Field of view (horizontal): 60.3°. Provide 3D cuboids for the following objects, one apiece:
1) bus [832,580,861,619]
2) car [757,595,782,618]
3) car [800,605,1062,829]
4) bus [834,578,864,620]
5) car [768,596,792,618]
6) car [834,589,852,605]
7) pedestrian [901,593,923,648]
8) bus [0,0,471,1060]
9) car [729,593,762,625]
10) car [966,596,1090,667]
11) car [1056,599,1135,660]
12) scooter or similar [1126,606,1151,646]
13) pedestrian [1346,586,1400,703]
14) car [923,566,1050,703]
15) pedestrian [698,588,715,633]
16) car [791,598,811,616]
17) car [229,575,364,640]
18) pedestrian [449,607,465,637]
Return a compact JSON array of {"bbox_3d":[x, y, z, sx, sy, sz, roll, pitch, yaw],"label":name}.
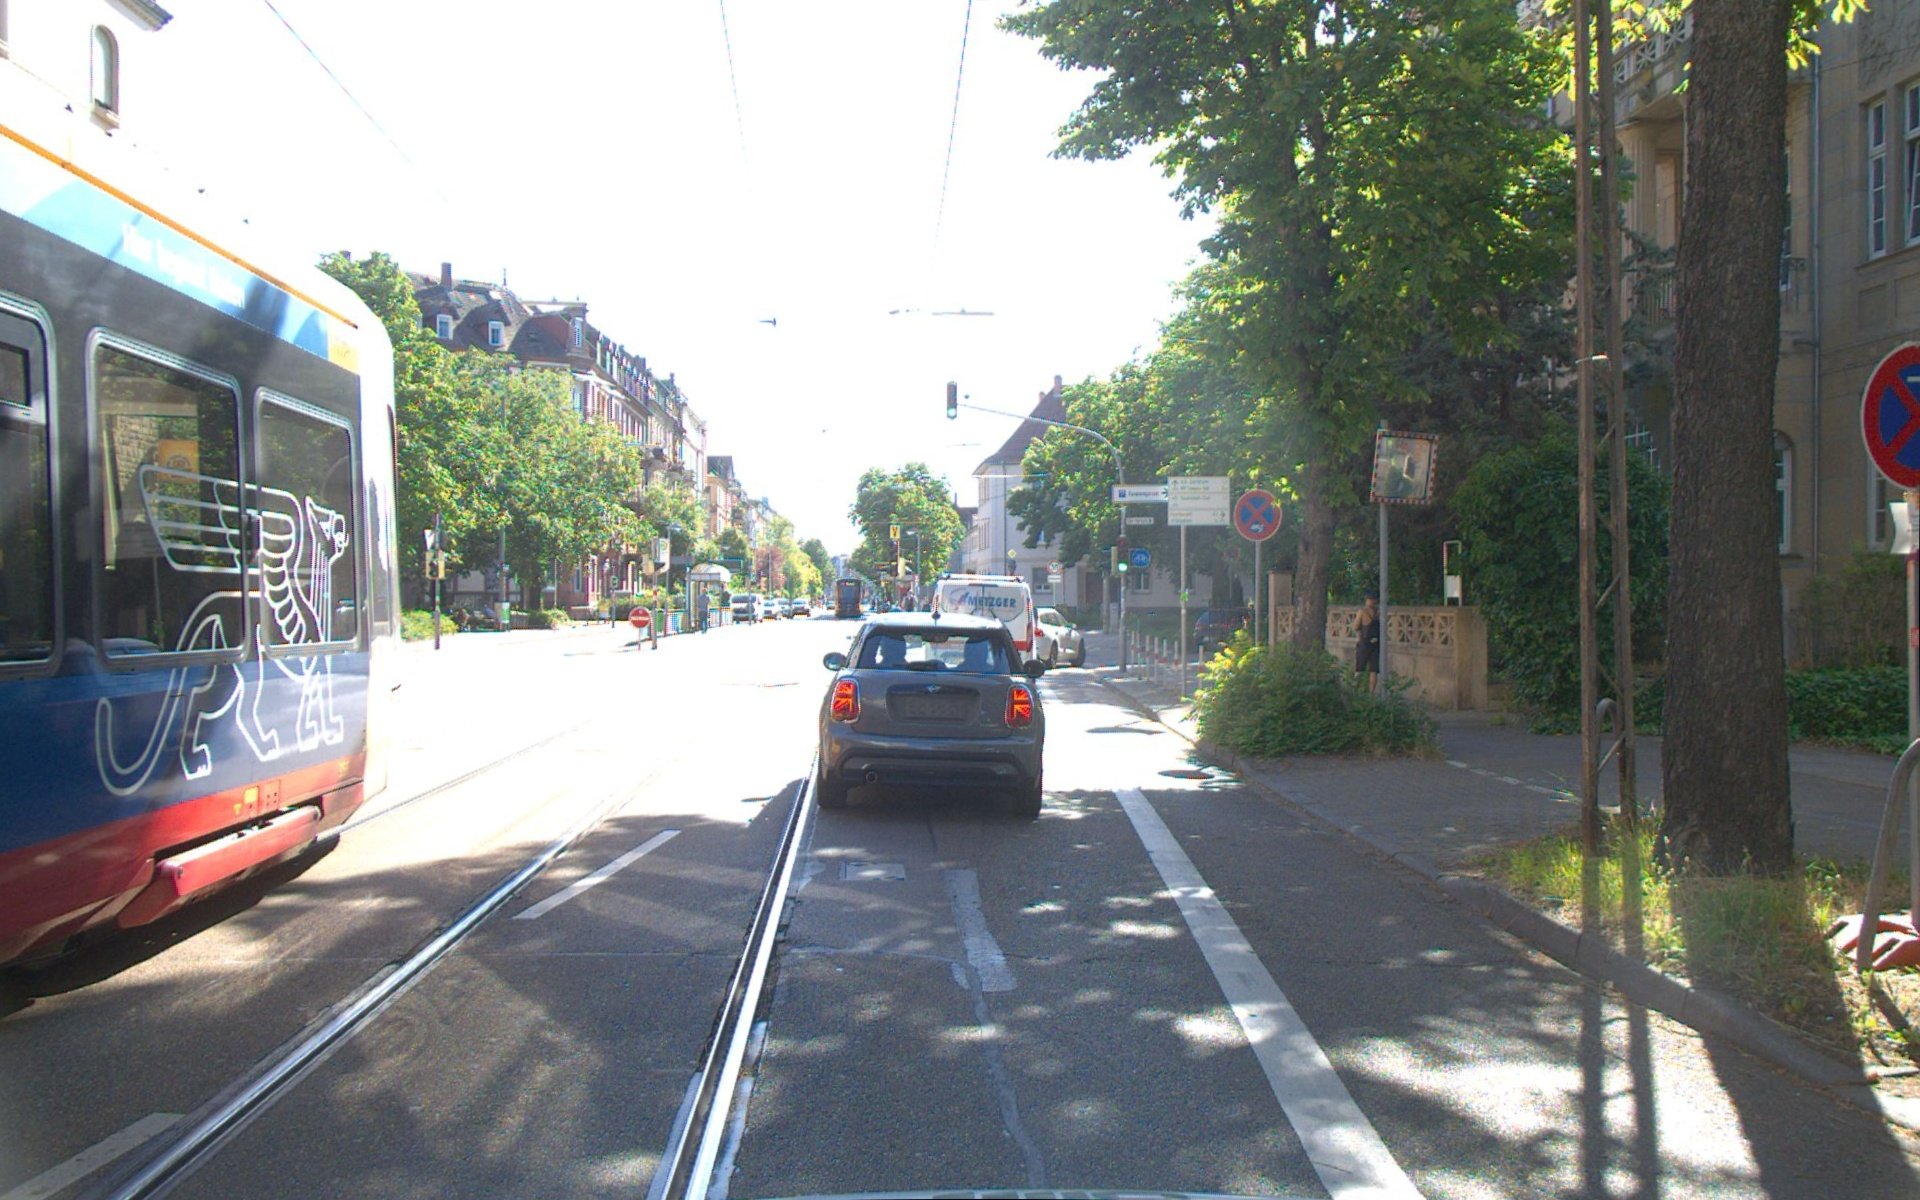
[{"bbox_3d":[-10.579,-0.007,153.793,2.339,3.558,7.375,1,-1,-6],"label":"bus"},{"bbox_3d":[-14.282,0.481,124.200,1.741,1.646,3.996,1,-1,-5],"label":"car"},{"bbox_3d":[-0.244,0.830,13.400,1.779,1.514,3.998,1,-1,-2],"label":"car"},{"bbox_3d":[-9.853,-0.017,146.435,2.339,3.558,7.375,1,-1,-6],"label":"bus"},{"bbox_3d":[-14.274,0.550,131.410,1.741,1.646,3.996,1,-1,-5],"label":"car"},{"bbox_3d":[-12.725,-0.323,179.514,1.827,1.591,3.996,1,-1,-5],"label":"car"},{"bbox_3d":[-1.805,0.769,62.128,0.779,2.049,0.740,1,-1,-3],"label":"pedestrian"},{"bbox_3d":[-4.427,-0.479,5.248,2.793,3.843,12.187,1,-1,-4],"label":"bus"},{"bbox_3d":[-14.212,0.598,109.256,1.957,2.049,5.017,1,-1,-10],"label":"car"},{"bbox_3d":[1.741,0.768,40.868,1.952,1.646,4.001,1,-1,19],"label":"car"},{"bbox_3d":[4.049,0.872,50.074,1.953,1.736,3.999,1,-1,-1],"label":"car"},{"bbox_3d":[6.047,0.875,56.079,0.662,1.333,1.328,1,-1,-2],"label":"scooter or similar"},{"bbox_3d":[6.133,0.662,24.575,0.580,1.700,0.646,-1,-1,-2],"label":"pedestrian"},{"bbox_3d":[0.384,0.606,30.068,2.075,2.247,4.942,1,-1,-2],"label":"car"},{"bbox_3d":[-10.281,0.420,66.982,0.569,1.826,0.604,0,0,-20],"label":"pedestrian"},{"bbox_3d":[-14.694,0.655,152.600,1.741,1.646,3.996,1,-1,-5],"label":"car"},{"bbox_3d":[-21.705,0.241,54.115,3.910,2.049,1.998,1,-1,27],"label":"car"},{"bbox_3d":[-20.762,0.911,68.234,0.570,1.223,0.603,-1,0,-24],"label":"pedestrian"}]
